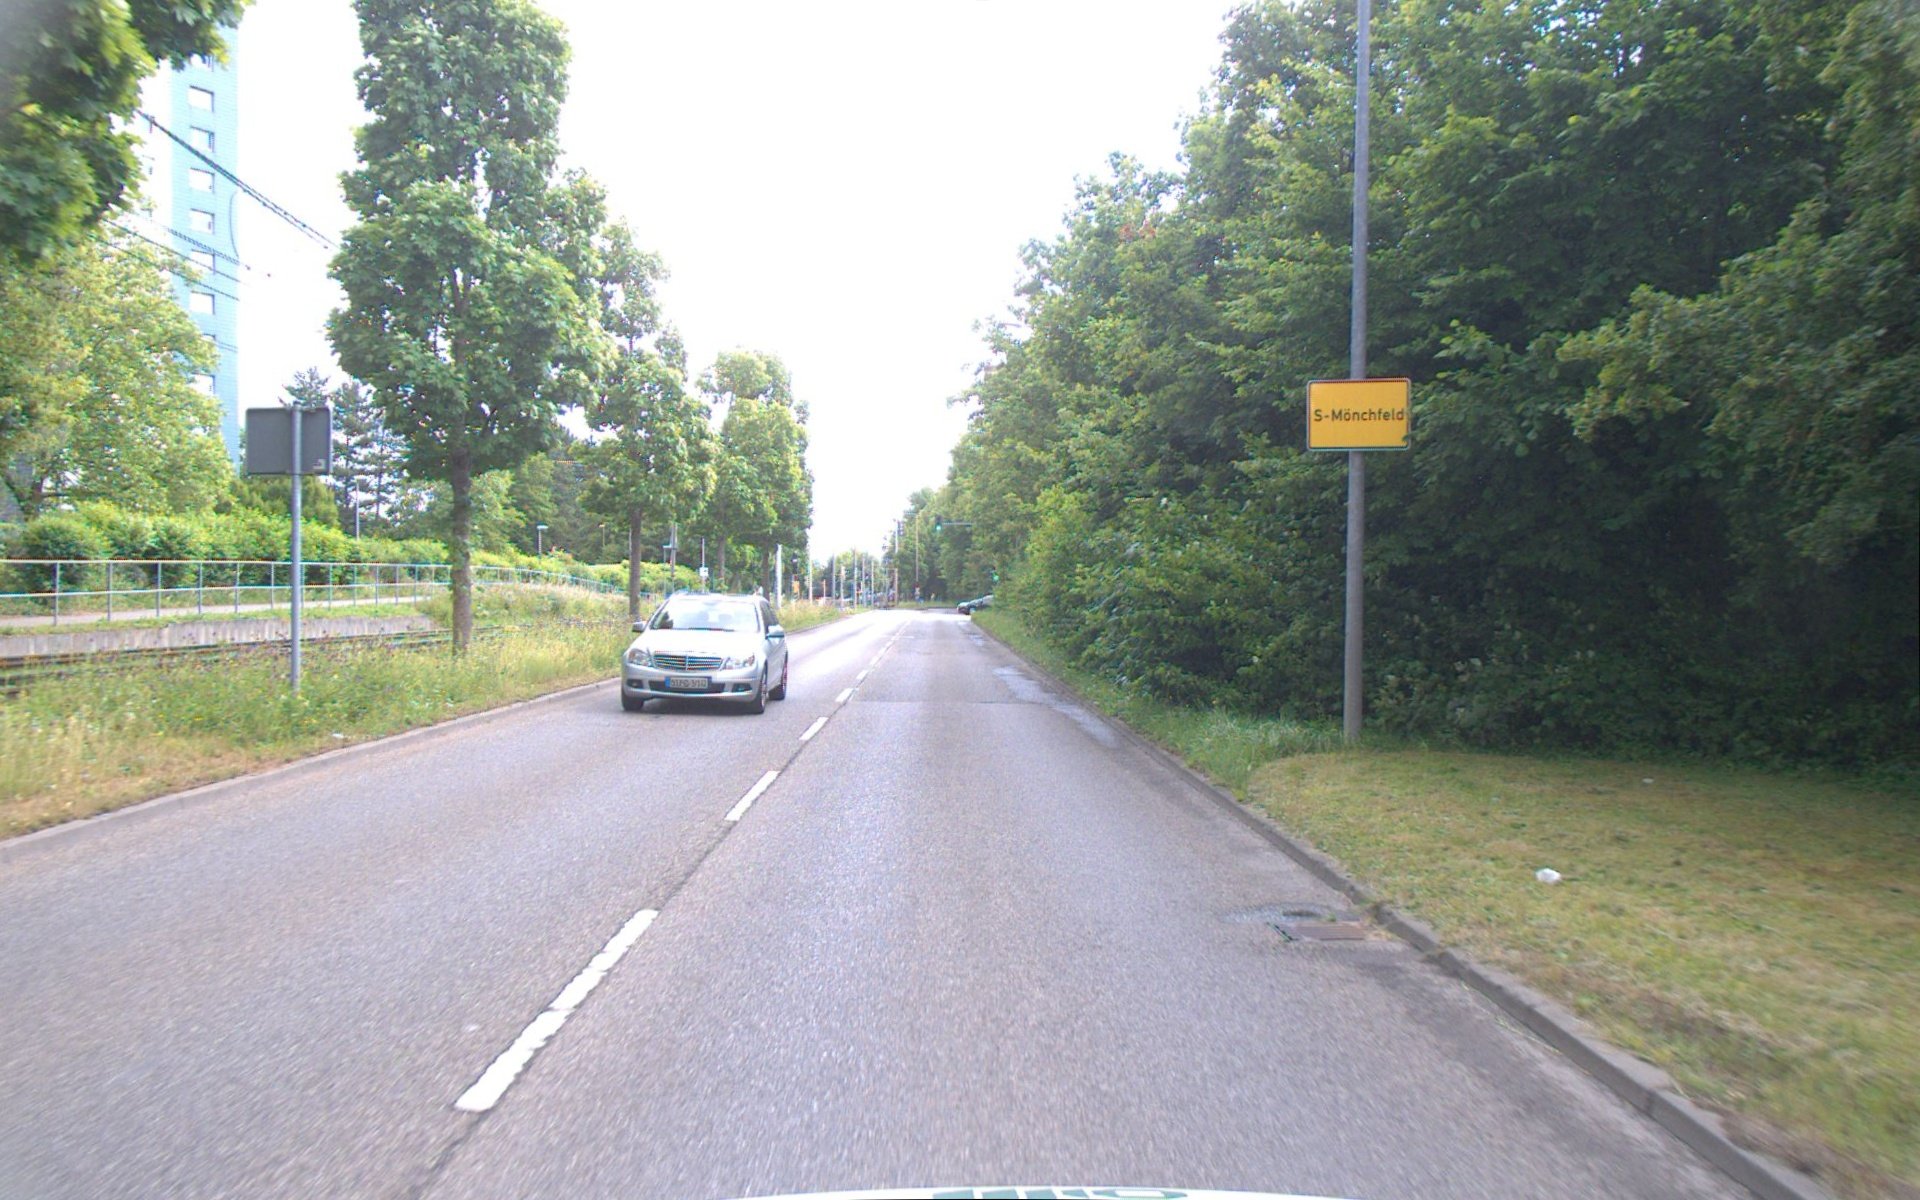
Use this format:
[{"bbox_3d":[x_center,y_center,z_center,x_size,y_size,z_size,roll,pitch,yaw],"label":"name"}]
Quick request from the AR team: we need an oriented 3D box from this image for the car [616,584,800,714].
[{"bbox_3d":[-3.162,0.552,21.521,1.738,1.494,4.241,1,0,-1],"label":"car"}]
